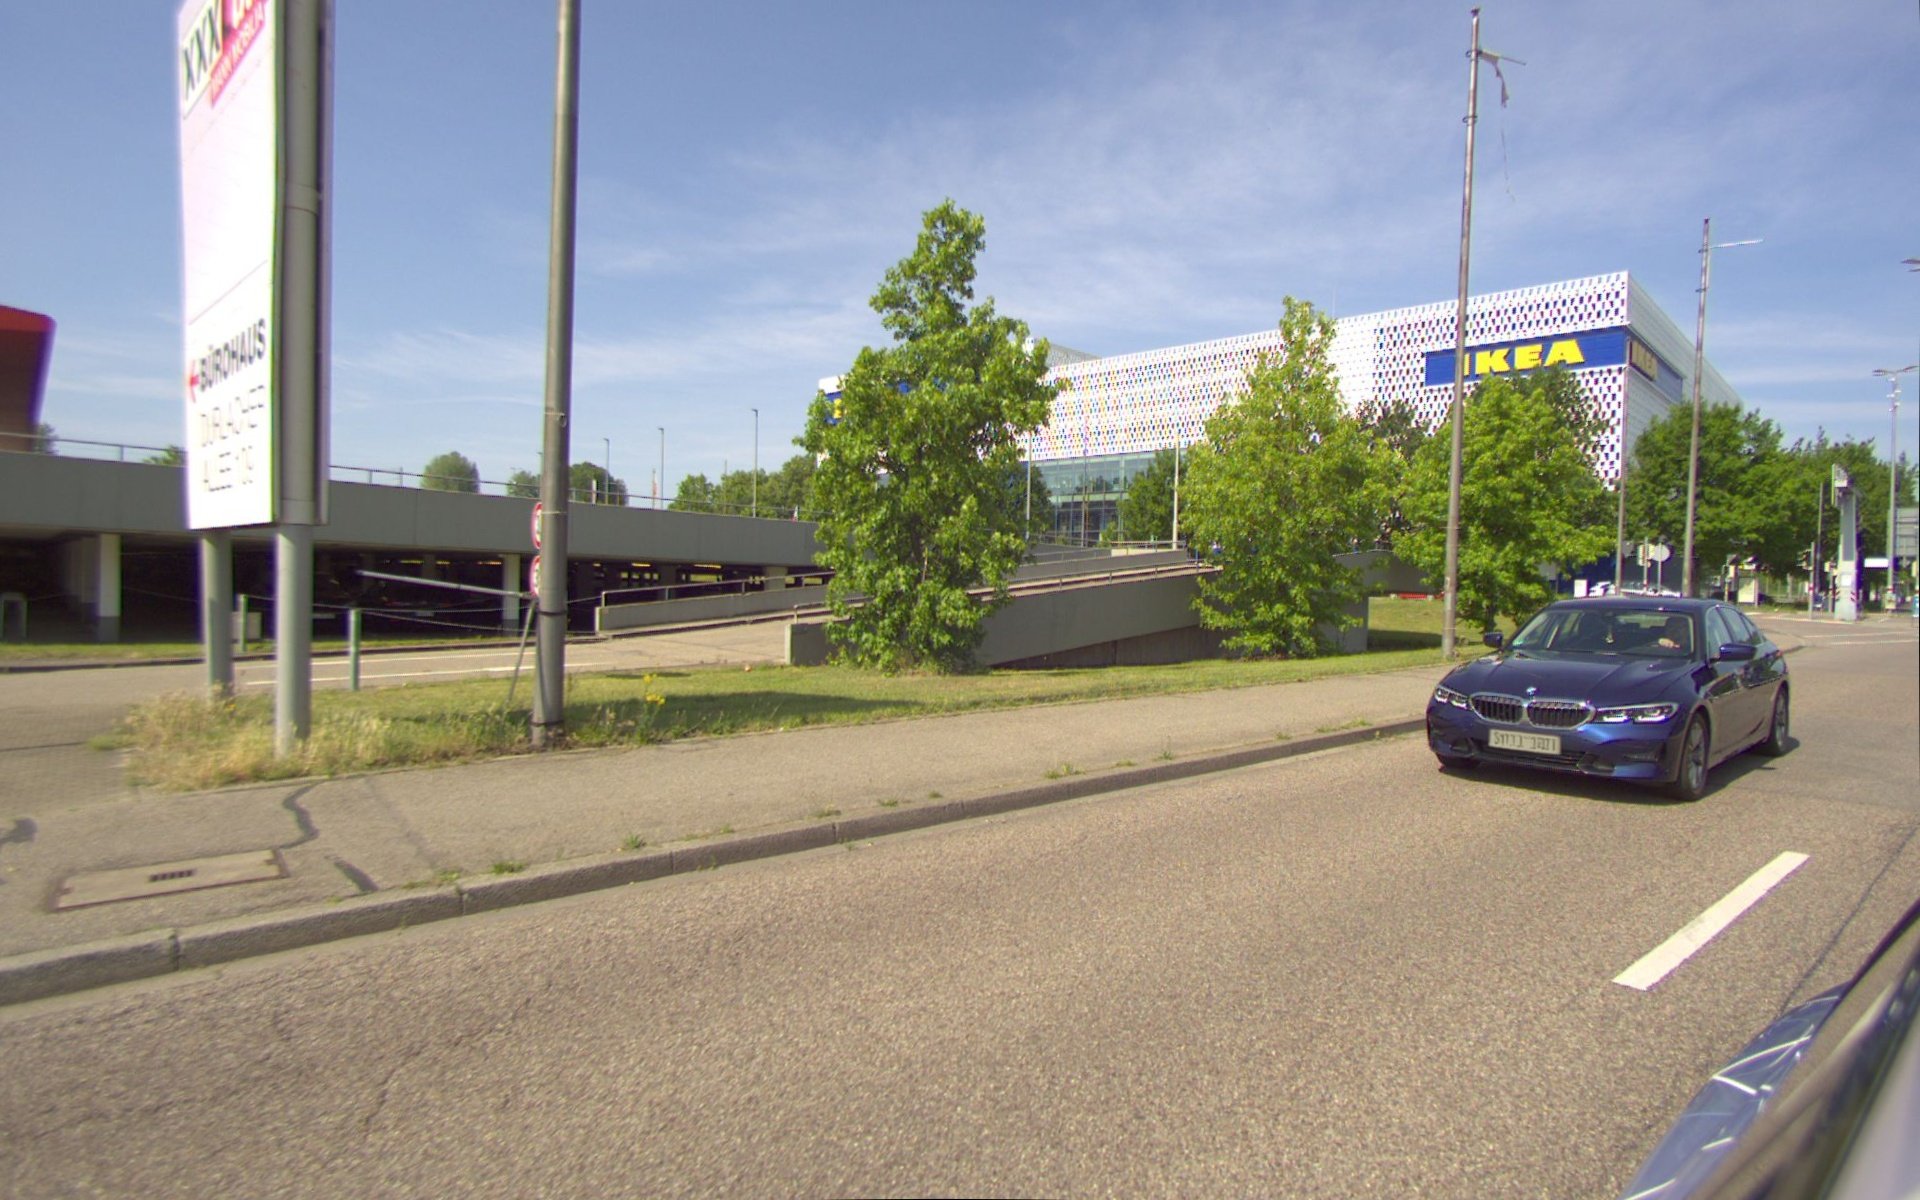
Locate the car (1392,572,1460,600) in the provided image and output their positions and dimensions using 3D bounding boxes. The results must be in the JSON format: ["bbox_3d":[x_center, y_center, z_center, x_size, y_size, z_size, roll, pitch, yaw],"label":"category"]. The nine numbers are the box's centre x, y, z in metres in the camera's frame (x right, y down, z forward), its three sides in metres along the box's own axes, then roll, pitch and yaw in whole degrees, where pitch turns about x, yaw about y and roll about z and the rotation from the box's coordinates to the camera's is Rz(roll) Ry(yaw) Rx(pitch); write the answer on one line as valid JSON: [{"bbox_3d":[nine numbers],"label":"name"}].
[{"bbox_3d":[28.714,-0.876,62.464,1.571,1.595,3.477,0,1,-41],"label":"car"}]

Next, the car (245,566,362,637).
[{"bbox_3d":[-16.647,0.010,25.583,1.723,1.647,4.154,0,0,-44],"label":"car"}]

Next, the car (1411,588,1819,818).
[{"bbox_3d":[5.821,0.647,8.756,4.459,1.447,1.798,-1,1,-41],"label":"car"}]

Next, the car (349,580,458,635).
[{"bbox_3d":[-15.326,0.174,27.799,1.661,1.405,3.874,0,0,-45],"label":"car"}]

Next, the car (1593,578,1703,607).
[{"bbox_3d":[37.917,-0.441,55.881,1.925,1.443,4.724,-1,3,-42],"label":"car"}]

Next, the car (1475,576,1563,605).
[{"bbox_3d":[32.194,-0.585,58.361,1.876,1.527,4.035,-1,3,-42],"label":"car"}]

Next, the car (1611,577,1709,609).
[{"bbox_3d":[36.549,-0.400,52.933,1.777,1.578,3.892,0,2,-41],"label":"car"}]

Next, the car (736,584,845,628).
[{"bbox_3d":[-6.294,0.185,37.346,4.107,1.542,1.773,0,0,41],"label":"car"}]
